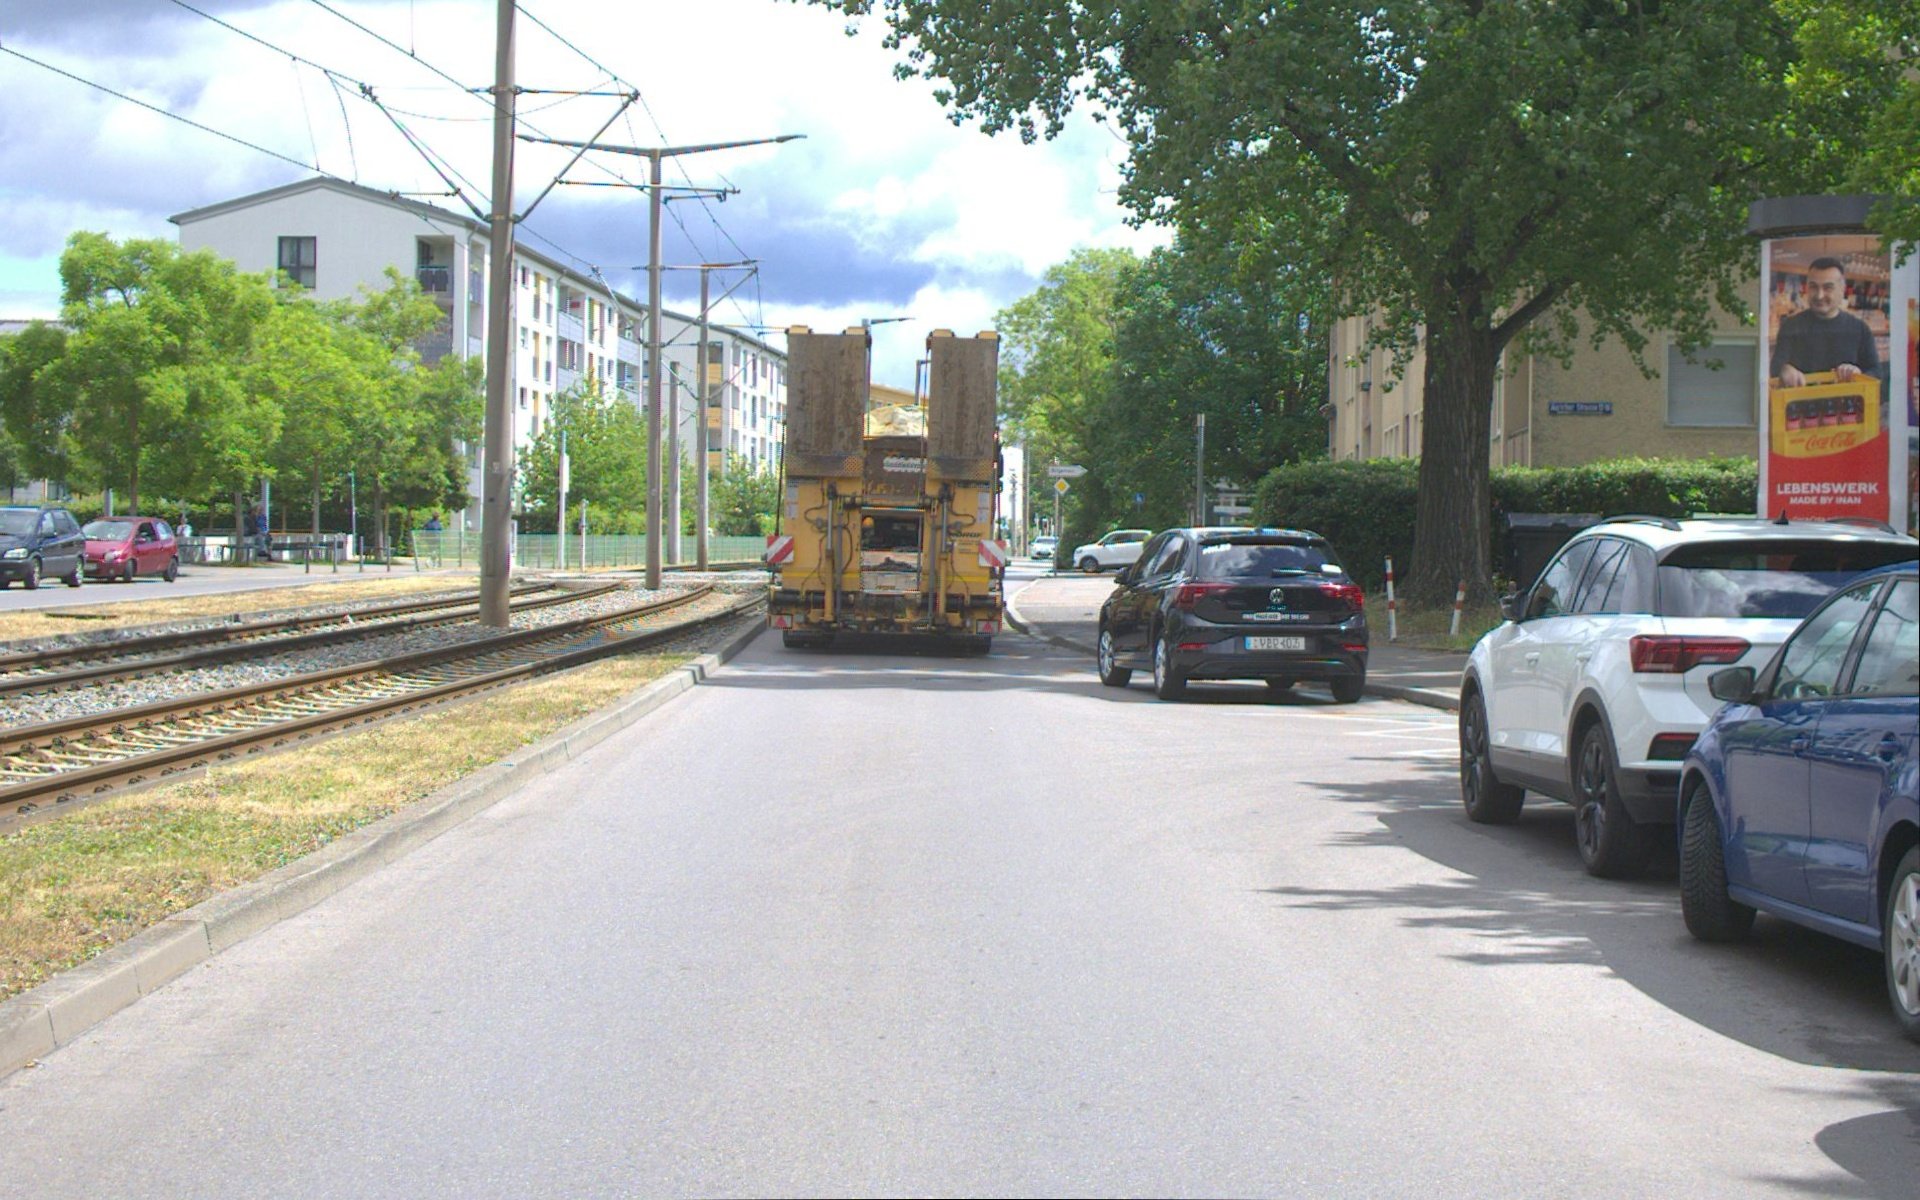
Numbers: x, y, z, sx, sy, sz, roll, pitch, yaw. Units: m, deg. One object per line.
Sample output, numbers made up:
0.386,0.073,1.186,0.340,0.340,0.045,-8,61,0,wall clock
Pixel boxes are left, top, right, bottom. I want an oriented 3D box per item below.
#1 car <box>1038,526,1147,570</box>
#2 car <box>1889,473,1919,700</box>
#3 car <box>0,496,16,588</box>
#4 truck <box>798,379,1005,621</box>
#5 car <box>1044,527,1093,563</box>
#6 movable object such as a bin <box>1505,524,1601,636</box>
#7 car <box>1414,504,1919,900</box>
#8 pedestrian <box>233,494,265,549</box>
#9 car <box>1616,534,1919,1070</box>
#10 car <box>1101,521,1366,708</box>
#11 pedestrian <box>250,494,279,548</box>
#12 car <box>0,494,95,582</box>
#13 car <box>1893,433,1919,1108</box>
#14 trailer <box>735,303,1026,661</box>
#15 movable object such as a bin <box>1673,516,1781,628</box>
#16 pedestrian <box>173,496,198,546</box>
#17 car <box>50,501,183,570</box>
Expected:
4.815,-1.862,124.458,3.600,1.579,1.999,0,0,14,car
9.724,-0.129,27.788,3.986,1.816,1.811,-1,2,-21,car
-18.404,-1.030,61.326,1.993,1.657,4.100,1,2,0,car
-0.837,-1.508,51.434,2.833,3.319,7.985,0,2,0,truck
4.509,-2.303,143.203,1.993,1.382,4.000,0,2,2,car
7.705,-0.269,44.700,1.098,1.434,0.761,0,2,0,movable object such as a bin
3.455,0.345,16.146,1.783,1.560,4.571,-1,2,-3,car
-20.269,-2.233,97.985,0.623,1.567,0.697,0,2,13,pedestrian
3.457,0.537,11.399,1.643,1.453,4.076,-1,2,-2,car
2.258,0.070,29.279,1.815,1.444,3.827,-1,2,-2,car
-20.014,-2.275,99.001,0.623,1.567,0.557,0,2,13,pedestrian
-18.535,-1.232,67.072,1.994,1.642,4.099,0,2,4,car
3.350,0.505,6.897,1.643,1.756,4.570,0,2,-1,car
-0.885,-1.434,42.174,3.050,3.759,11.613,0,2,0,trailer
10.029,-0.373,44.987,1.169,1.434,1.057,0,2,0,movable object such as a bin
-23.868,-2.428,105.938,0.545,1.542,0.528,0,2,23,pedestrian
-18.158,-1.405,74.138,1.614,1.421,3.422,0,2,8,car
